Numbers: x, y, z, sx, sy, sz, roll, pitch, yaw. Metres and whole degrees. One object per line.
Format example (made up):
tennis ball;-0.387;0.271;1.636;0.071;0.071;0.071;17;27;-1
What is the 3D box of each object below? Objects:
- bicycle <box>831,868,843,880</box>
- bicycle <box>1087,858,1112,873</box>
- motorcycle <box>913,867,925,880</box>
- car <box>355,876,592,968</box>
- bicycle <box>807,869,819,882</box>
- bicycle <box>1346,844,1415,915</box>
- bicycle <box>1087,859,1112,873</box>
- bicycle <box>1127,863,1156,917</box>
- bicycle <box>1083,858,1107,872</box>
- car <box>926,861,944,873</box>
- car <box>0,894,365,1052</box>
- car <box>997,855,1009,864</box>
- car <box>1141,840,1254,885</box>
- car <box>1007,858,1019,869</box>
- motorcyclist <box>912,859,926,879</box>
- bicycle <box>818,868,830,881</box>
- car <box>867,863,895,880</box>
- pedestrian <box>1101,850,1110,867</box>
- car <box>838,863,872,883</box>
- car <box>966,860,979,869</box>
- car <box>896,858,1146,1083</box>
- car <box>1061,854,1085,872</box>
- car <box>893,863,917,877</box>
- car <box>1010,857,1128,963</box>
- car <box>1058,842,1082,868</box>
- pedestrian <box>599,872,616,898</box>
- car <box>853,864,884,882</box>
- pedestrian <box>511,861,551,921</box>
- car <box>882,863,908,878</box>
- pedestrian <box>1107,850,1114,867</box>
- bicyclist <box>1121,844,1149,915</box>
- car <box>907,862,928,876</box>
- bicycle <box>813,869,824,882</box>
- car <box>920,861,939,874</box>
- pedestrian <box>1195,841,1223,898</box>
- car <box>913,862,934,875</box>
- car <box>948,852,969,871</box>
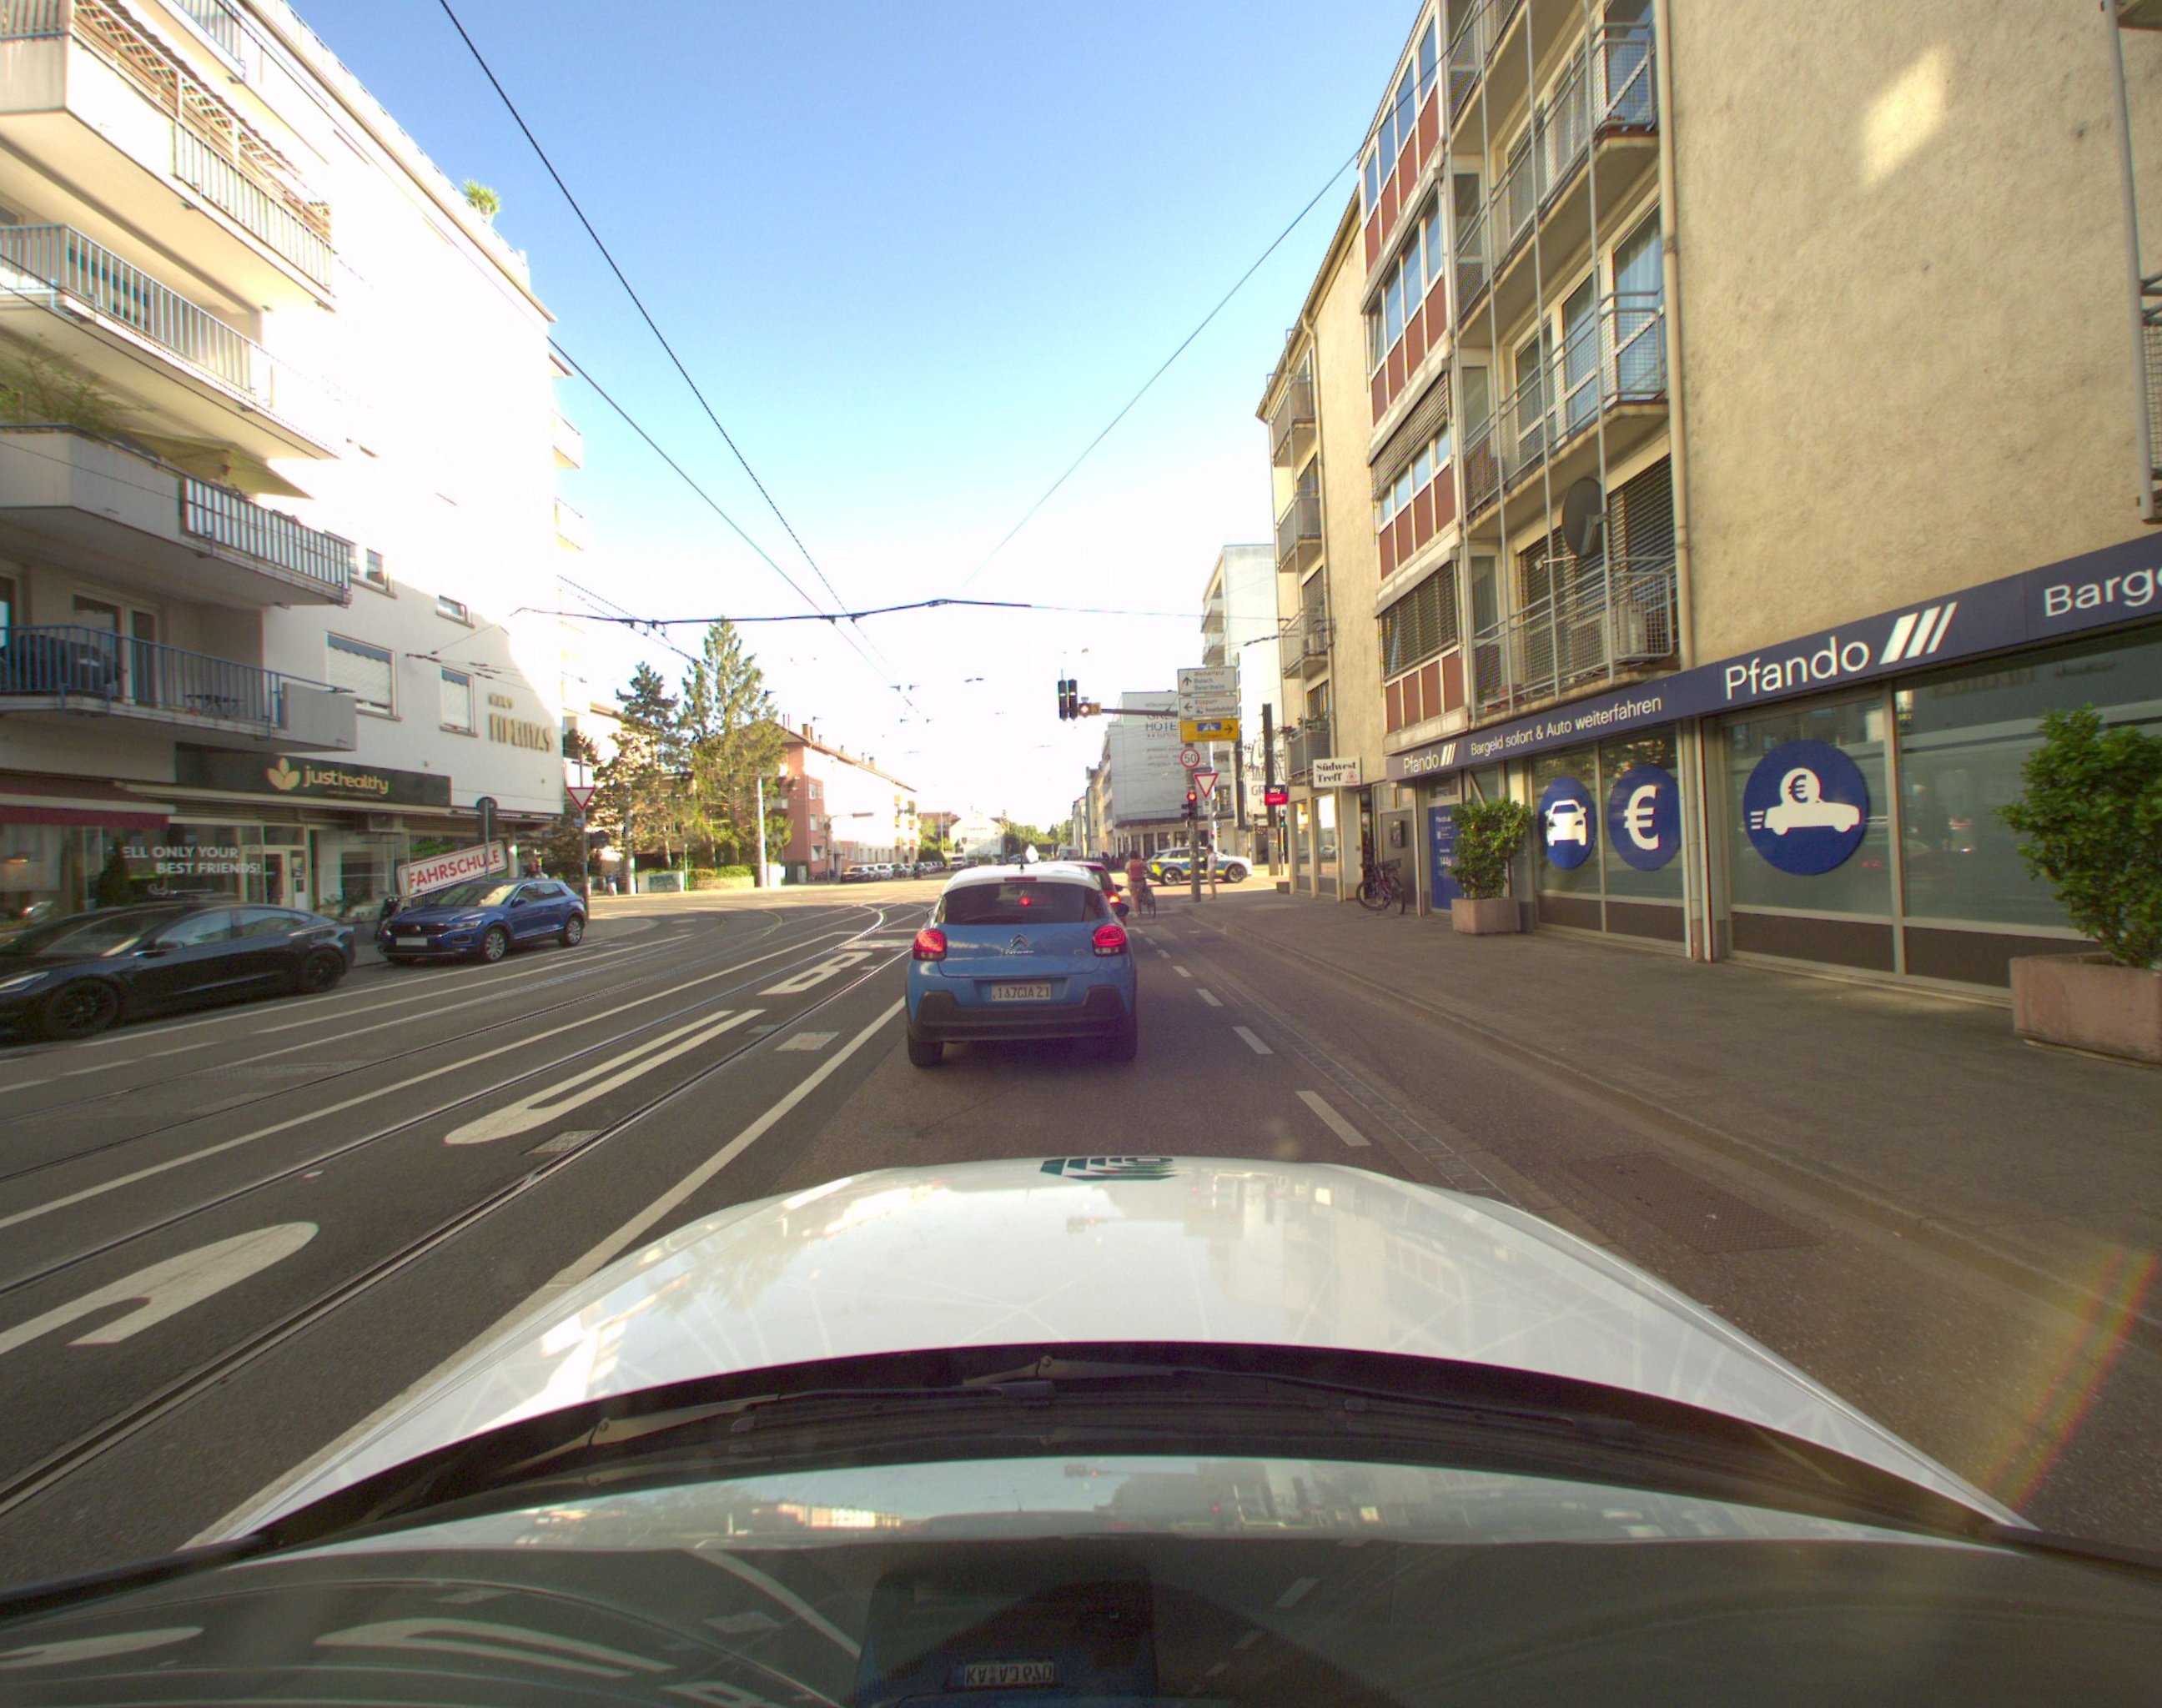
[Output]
bicycle;-22.720;1.859;75.812;0.608;1.082;1.908;-2;0;-4
bicycle;1.514;0.929;65.947;1.901;1.064;0.641;-2;0;-6
motorcycle;-13.487;1.596;67.771;0.751;0.976;2.092;-2;0;-7
car;-11.879;1.244;16.336;1.720;1.505;4.113;0;0;-2
bicycle;-22.383;1.793;68.087;0.640;1.082;1.905;-2;0;-9
bicycle;5.759;0.456;15.751;0.637;1.264;1.911;-2;0;2
bicycle;1.522;0.960;67.253;1.901;1.064;0.641;-2;0;-6
bicycle;1.532;0.886;20.738;0.611;1.264;1.911;-2;0;2
bicycle;1.157;0.952;68.455;1.901;1.064;0.641;-2;0;-6
car;-20.731;1.850;115.693;1.947;1.519;3.995;-2;0;-4
car;-11.983;1.330;10.433;1.720;1.403;4.486;0;0;-2
car;-13.943;0.954;145.834;2.002;1.627;5.043;-2;0;-6
car;4.959;0.367;34.986;4.524;1.684;1.790;-2;0;-3
car;-14.274;1.977;171.421;2.333;2.039;5.044;-2;0;-4
motorcyclist;-13.477;1.269;67.704;0.990;1.631;0.737;-2;0;-7
bicycle;-23.053;1.841;73.116;0.536;1.082;1.908;-2;0;-4
car;-19.563;1.683;79.865;1.947;1.519;3.995;-2;0;-4
pedestrian;2.100;0.395;70.391;0.520;1.420;0.550;-3;0;22
car;-19.293;1.600;69.630;1.947;1.519;3.995;-2;0;-4
car;-19.345;1.814;145.254;1.947;1.519;3.995;-2;0;-4
car;-0.452;0.790;7.510;1.675;1.462;3.997;-1;0;-2
car;-0.718;0.741;67.997;1.783;1.359;3.909;-2;0;-4
car;-19.985;1.789;92.606;1.947;1.519;3.995;-2;0;-4
car;-0.226;0.810;13.719;1.675;1.462;3.997;-1;0;-2
car;-1.042;0.085;73.458;2.074;2.269;5.647;-1;0;-2
pedestrian;-32.360;2.089;55.685;0.810;1.702;0.677;-2;0;-15
car;-19.574;1.717;75.253;1.947;1.519;4.040;-2;0;-4
pedestrian;-17.288;1.169;25.606;0.761;1.834;0.725;-3;0;28
car;-19.733;1.738;86.538;1.947;1.519;3.995;-2;0;-4
pedestrian;2.521;0.378;70.129;0.467;1.420;0.524;-2;0;-11
bicyclist;1.369;0.632;20.705;0.598;1.746;1.084;-2;0;2
car;-19.856;1.784;99.035;1.947;1.519;3.995;-2;0;-4
bicycle;-21.977;1.793;68.197;0.537;1.082;1.905;-2;0;-9
car;-20.303;1.771;109.338;1.947;1.519;3.995;-2;0;-4
pedestrian;3.839;0.453;24.427;0.747;1.635;0.742;-2;0;7
car;-20.102;1.799;104.049;1.947;1.519;3.995;-2;0;-4
car;-18.132;1.102;120.586;2.489;2.712;5.828;-2;0;-5
